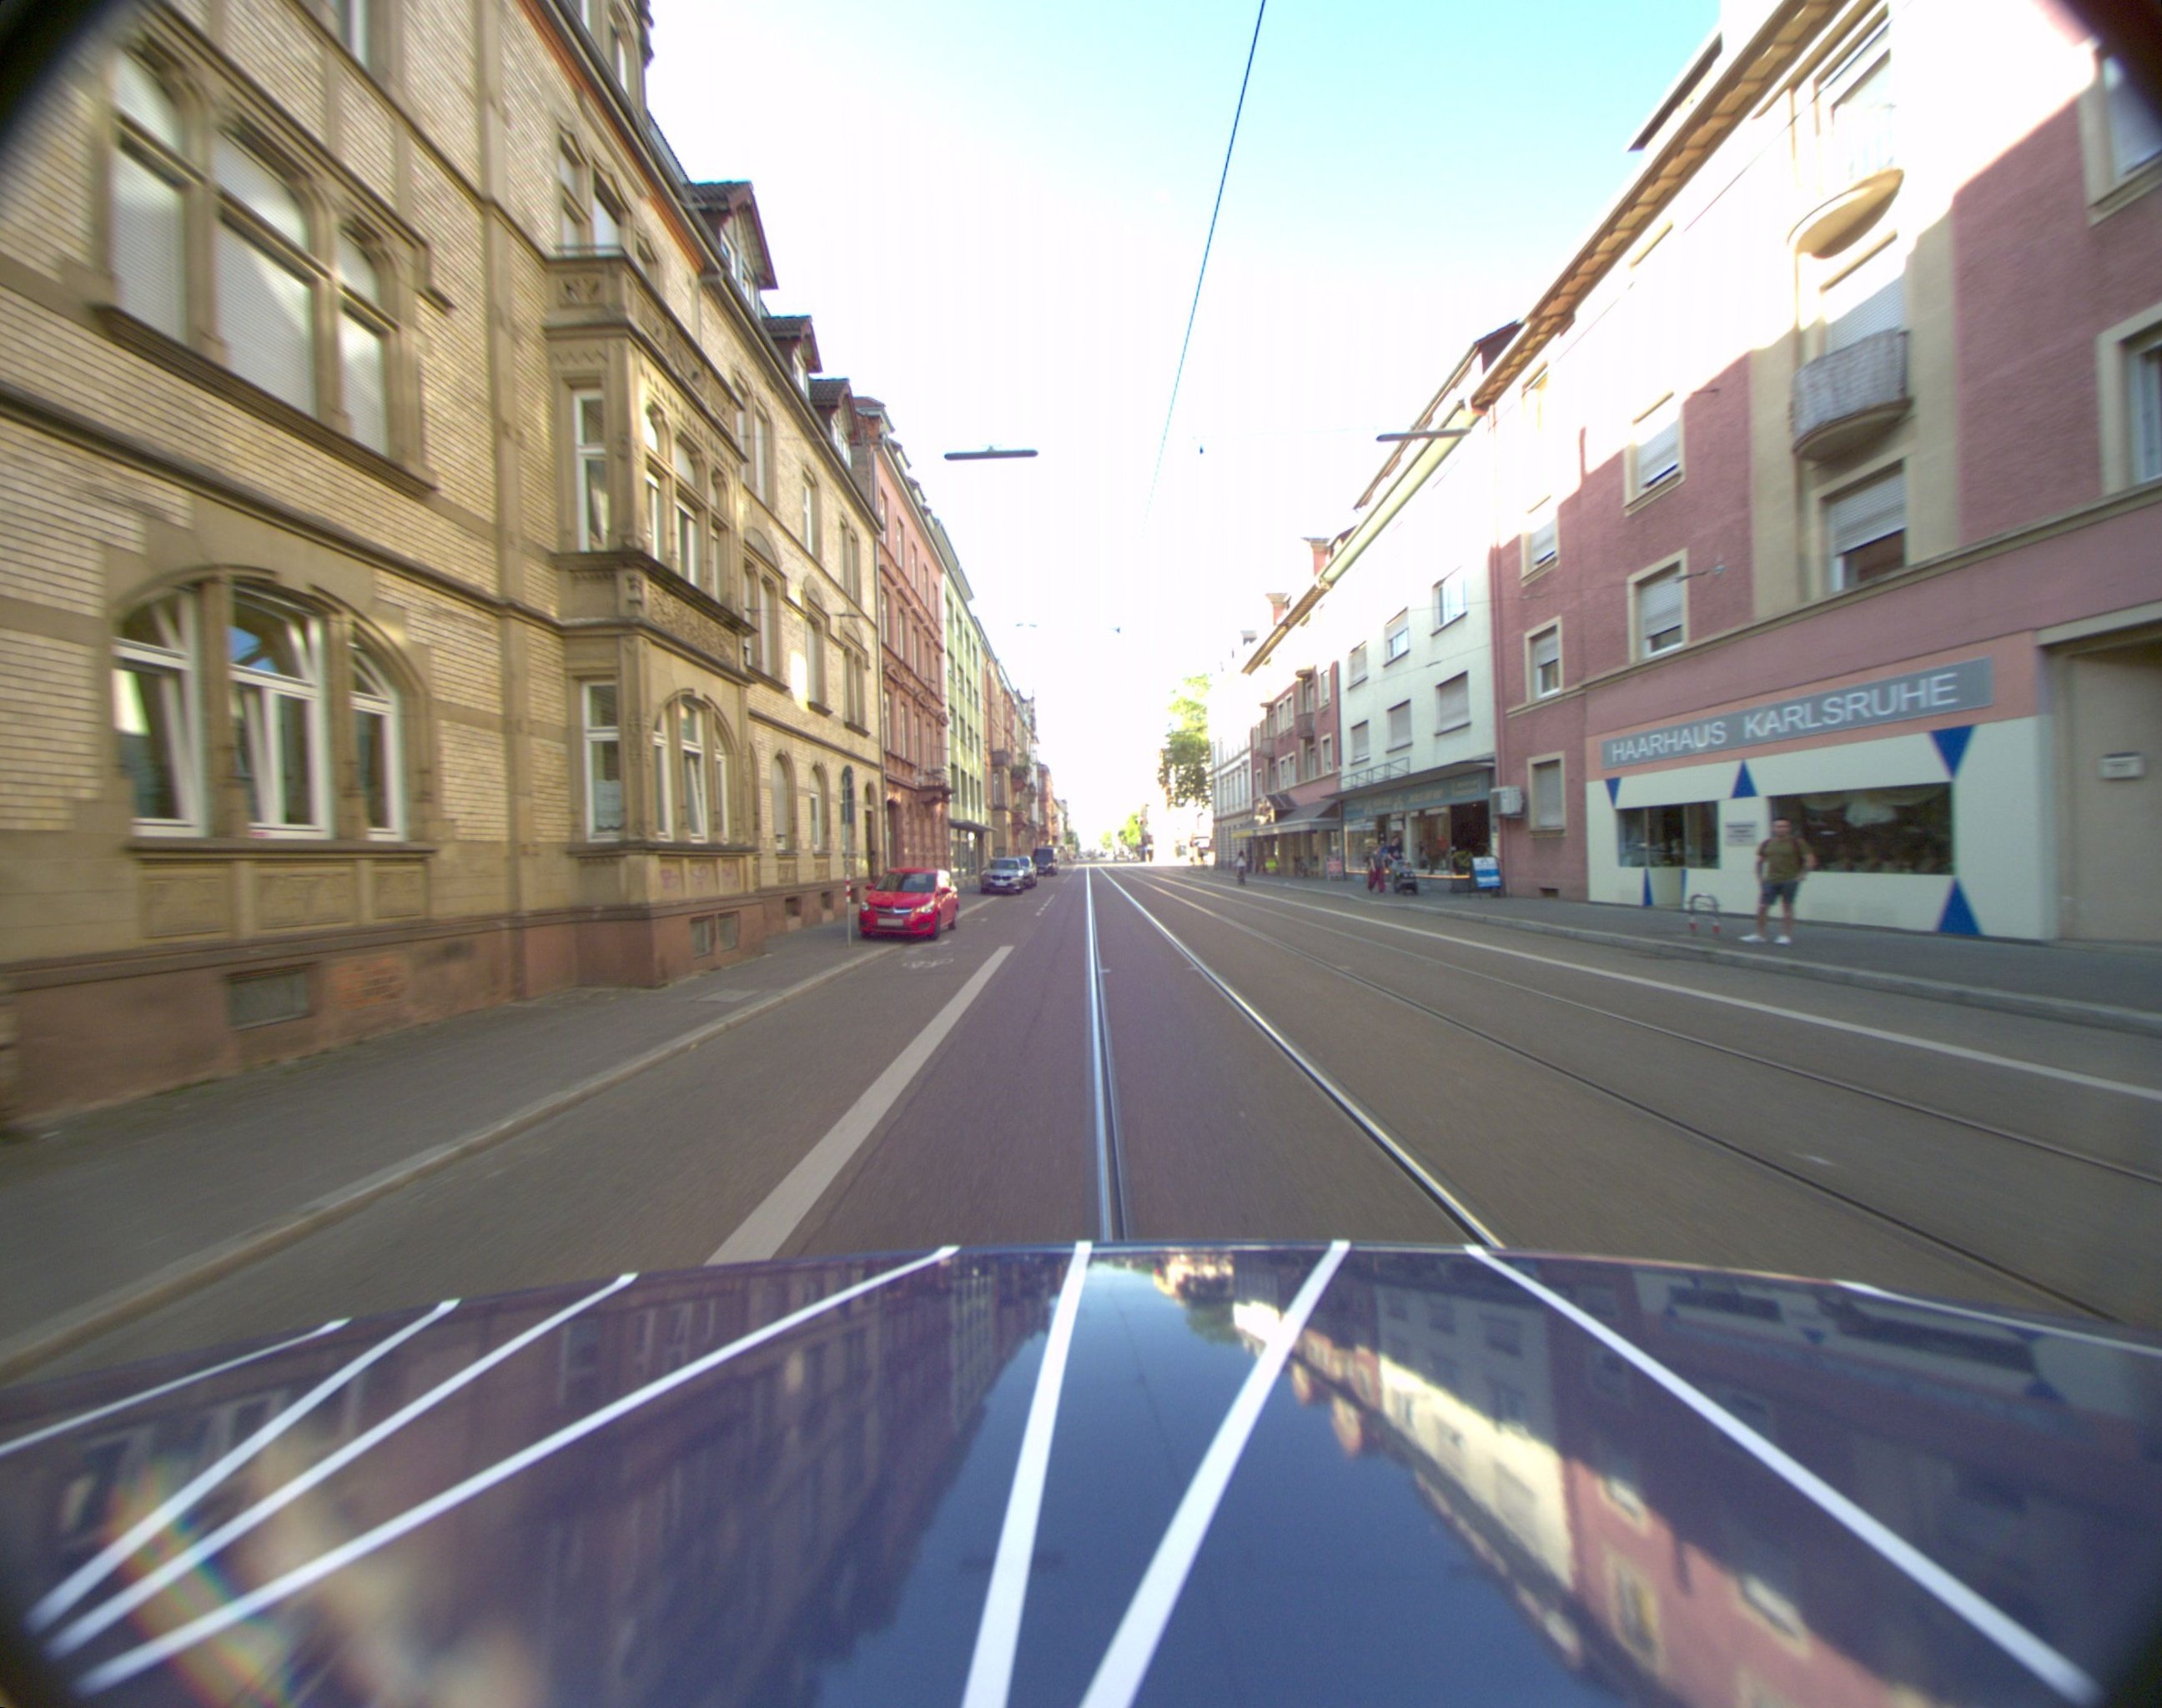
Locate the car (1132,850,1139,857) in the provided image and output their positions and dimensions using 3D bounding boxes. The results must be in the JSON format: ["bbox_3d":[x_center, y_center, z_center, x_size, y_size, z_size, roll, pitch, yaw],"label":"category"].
[{"bbox_3d":[16.636,-0.191,232.314,1.998,2.002,4.000,-2,0,0],"label":"car"}]

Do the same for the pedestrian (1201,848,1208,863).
[{"bbox_3d":[15.582,0.230,95.854,0.795,1.837,0.809,-3,1,4],"label":"pedestrian"}]

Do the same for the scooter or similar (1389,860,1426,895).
[{"bbox_3d":[10.387,0.733,24.188,0.663,1.055,1.105,-3,0,1],"label":"scooter or similar"}]

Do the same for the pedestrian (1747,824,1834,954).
[{"bbox_3d":[9.545,0.455,10.239,0.564,1.676,0.616,-3,1,-1],"label":"pedestrian"}]

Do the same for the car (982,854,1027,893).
[{"bbox_3d":[-3.462,0.849,34.987,1.871,1.637,4.399,1,0,-3],"label":"car"}]

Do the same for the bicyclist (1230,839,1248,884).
[{"bbox_3d":[7.295,0.347,35.084,0.613,2.002,0.733,-3,1,1],"label":"bicyclist"}]

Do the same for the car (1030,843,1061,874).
[{"bbox_3d":[-3.094,0.356,67.587,2.128,2.478,5.856,-3,1,3],"label":"car"}]

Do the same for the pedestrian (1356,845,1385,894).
[{"bbox_3d":[9.331,0.479,24.518,0.637,1.540,0.623,-3,1,0],"label":"pedestrian"}]

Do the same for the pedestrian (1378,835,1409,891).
[{"bbox_3d":[10.369,0.285,25.192,0.627,1.779,0.821,-3,1,0],"label":"pedestrian"}]

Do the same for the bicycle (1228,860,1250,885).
[{"bbox_3d":[7.322,0.833,35.240,0.603,1.089,2.044,0,1,1],"label":"bicycle"}]

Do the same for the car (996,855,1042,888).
[{"bbox_3d":[-3.247,0.880,40.676,1.998,1.606,4.785,1,1,0],"label":"car"}]

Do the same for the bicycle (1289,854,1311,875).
[{"bbox_3d":[11.378,0.536,39.567,0.425,1.053,2.329,-3,1,0],"label":"bicycle"}]

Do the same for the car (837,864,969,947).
[{"bbox_3d":[-3.778,1.025,16.944,1.870,1.474,4.400,1,1,0],"label":"car"}]
